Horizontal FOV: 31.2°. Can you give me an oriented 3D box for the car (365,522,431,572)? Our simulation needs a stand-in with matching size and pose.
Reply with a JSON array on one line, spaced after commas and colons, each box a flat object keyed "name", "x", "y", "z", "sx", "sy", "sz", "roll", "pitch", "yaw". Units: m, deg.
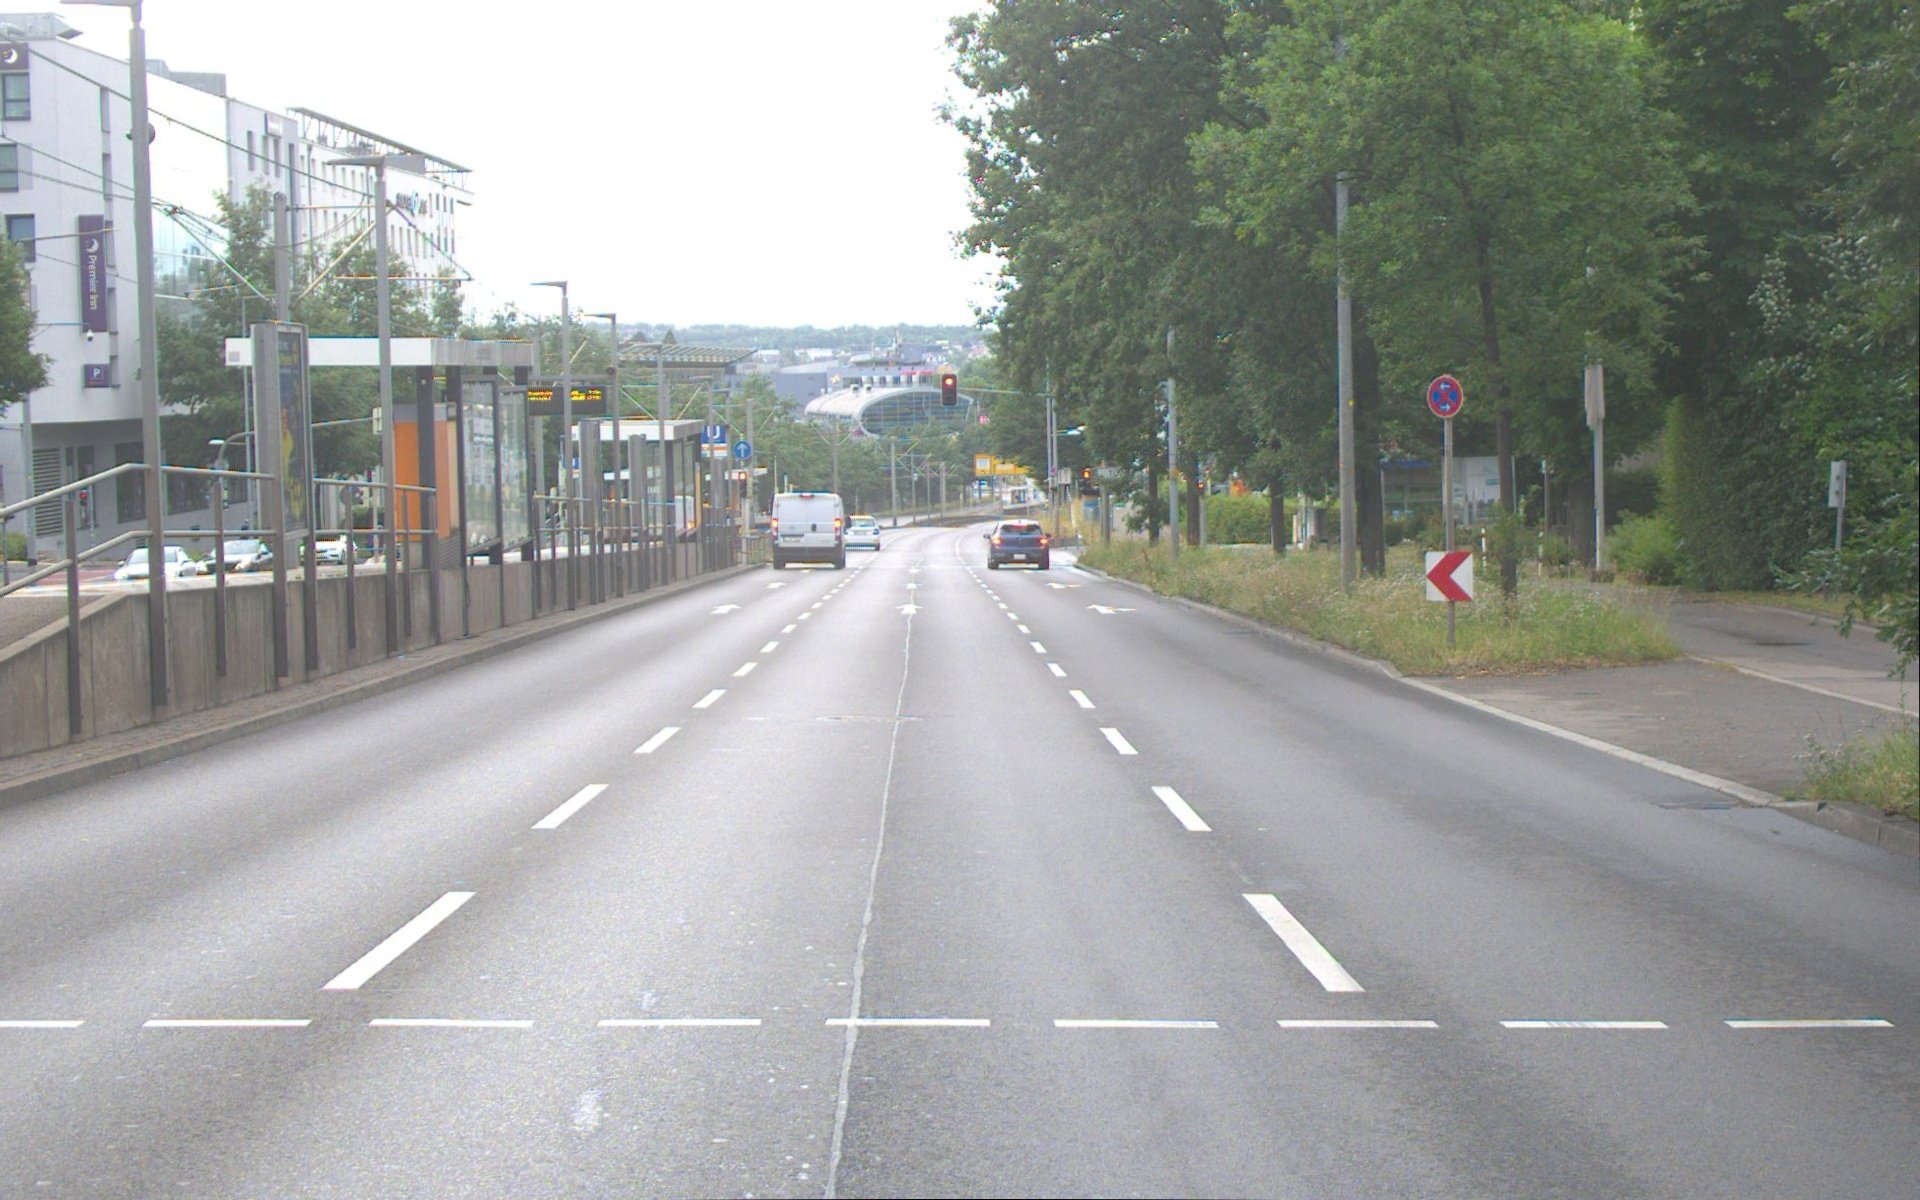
[{"name": "car", "x": -17.271, "y": -1.637, "z": 105.503, "sx": 1.650, "sy": 1.431, "sz": 3.881, "roll": -3, "pitch": 1, "yaw": -13}]

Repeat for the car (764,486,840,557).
[{"name": "car", "x": -4.685, "y": -2.339, "z": 102.451, "sx": 2.093, "sy": 2.046, "sz": 4.607, "roll": 0, "pitch": 1, "yaw": -1}]

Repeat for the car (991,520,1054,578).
[{"name": "car", "x": 1.849, "y": -1.551, "z": 102.791, "sx": 1.774, "sy": 1.685, "sz": 3.846, "roll": 0, "pitch": 1, "yaw": -1}]

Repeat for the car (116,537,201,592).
[{"name": "car", "x": -22.360, "y": -1.009, "z": 96.018, "sx": 1.650, "sy": 1.431, "sz": 3.880, "roll": -3, "pitch": 1, "yaw": -4}]

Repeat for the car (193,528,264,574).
[{"name": "car", "x": -22.459, "y": -1.521, "z": 105.658, "sx": 1.567, "sy": 1.374, "sz": 3.519, "roll": 0, "pitch": 2, "yaw": -2}]

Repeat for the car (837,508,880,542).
[{"name": "car", "x": -4.316, "y": -3.194, "z": 145.632, "sx": 1.783, "sy": 1.385, "sz": 4.001, "roll": 0, "pitch": 1, "yaw": -3}]
